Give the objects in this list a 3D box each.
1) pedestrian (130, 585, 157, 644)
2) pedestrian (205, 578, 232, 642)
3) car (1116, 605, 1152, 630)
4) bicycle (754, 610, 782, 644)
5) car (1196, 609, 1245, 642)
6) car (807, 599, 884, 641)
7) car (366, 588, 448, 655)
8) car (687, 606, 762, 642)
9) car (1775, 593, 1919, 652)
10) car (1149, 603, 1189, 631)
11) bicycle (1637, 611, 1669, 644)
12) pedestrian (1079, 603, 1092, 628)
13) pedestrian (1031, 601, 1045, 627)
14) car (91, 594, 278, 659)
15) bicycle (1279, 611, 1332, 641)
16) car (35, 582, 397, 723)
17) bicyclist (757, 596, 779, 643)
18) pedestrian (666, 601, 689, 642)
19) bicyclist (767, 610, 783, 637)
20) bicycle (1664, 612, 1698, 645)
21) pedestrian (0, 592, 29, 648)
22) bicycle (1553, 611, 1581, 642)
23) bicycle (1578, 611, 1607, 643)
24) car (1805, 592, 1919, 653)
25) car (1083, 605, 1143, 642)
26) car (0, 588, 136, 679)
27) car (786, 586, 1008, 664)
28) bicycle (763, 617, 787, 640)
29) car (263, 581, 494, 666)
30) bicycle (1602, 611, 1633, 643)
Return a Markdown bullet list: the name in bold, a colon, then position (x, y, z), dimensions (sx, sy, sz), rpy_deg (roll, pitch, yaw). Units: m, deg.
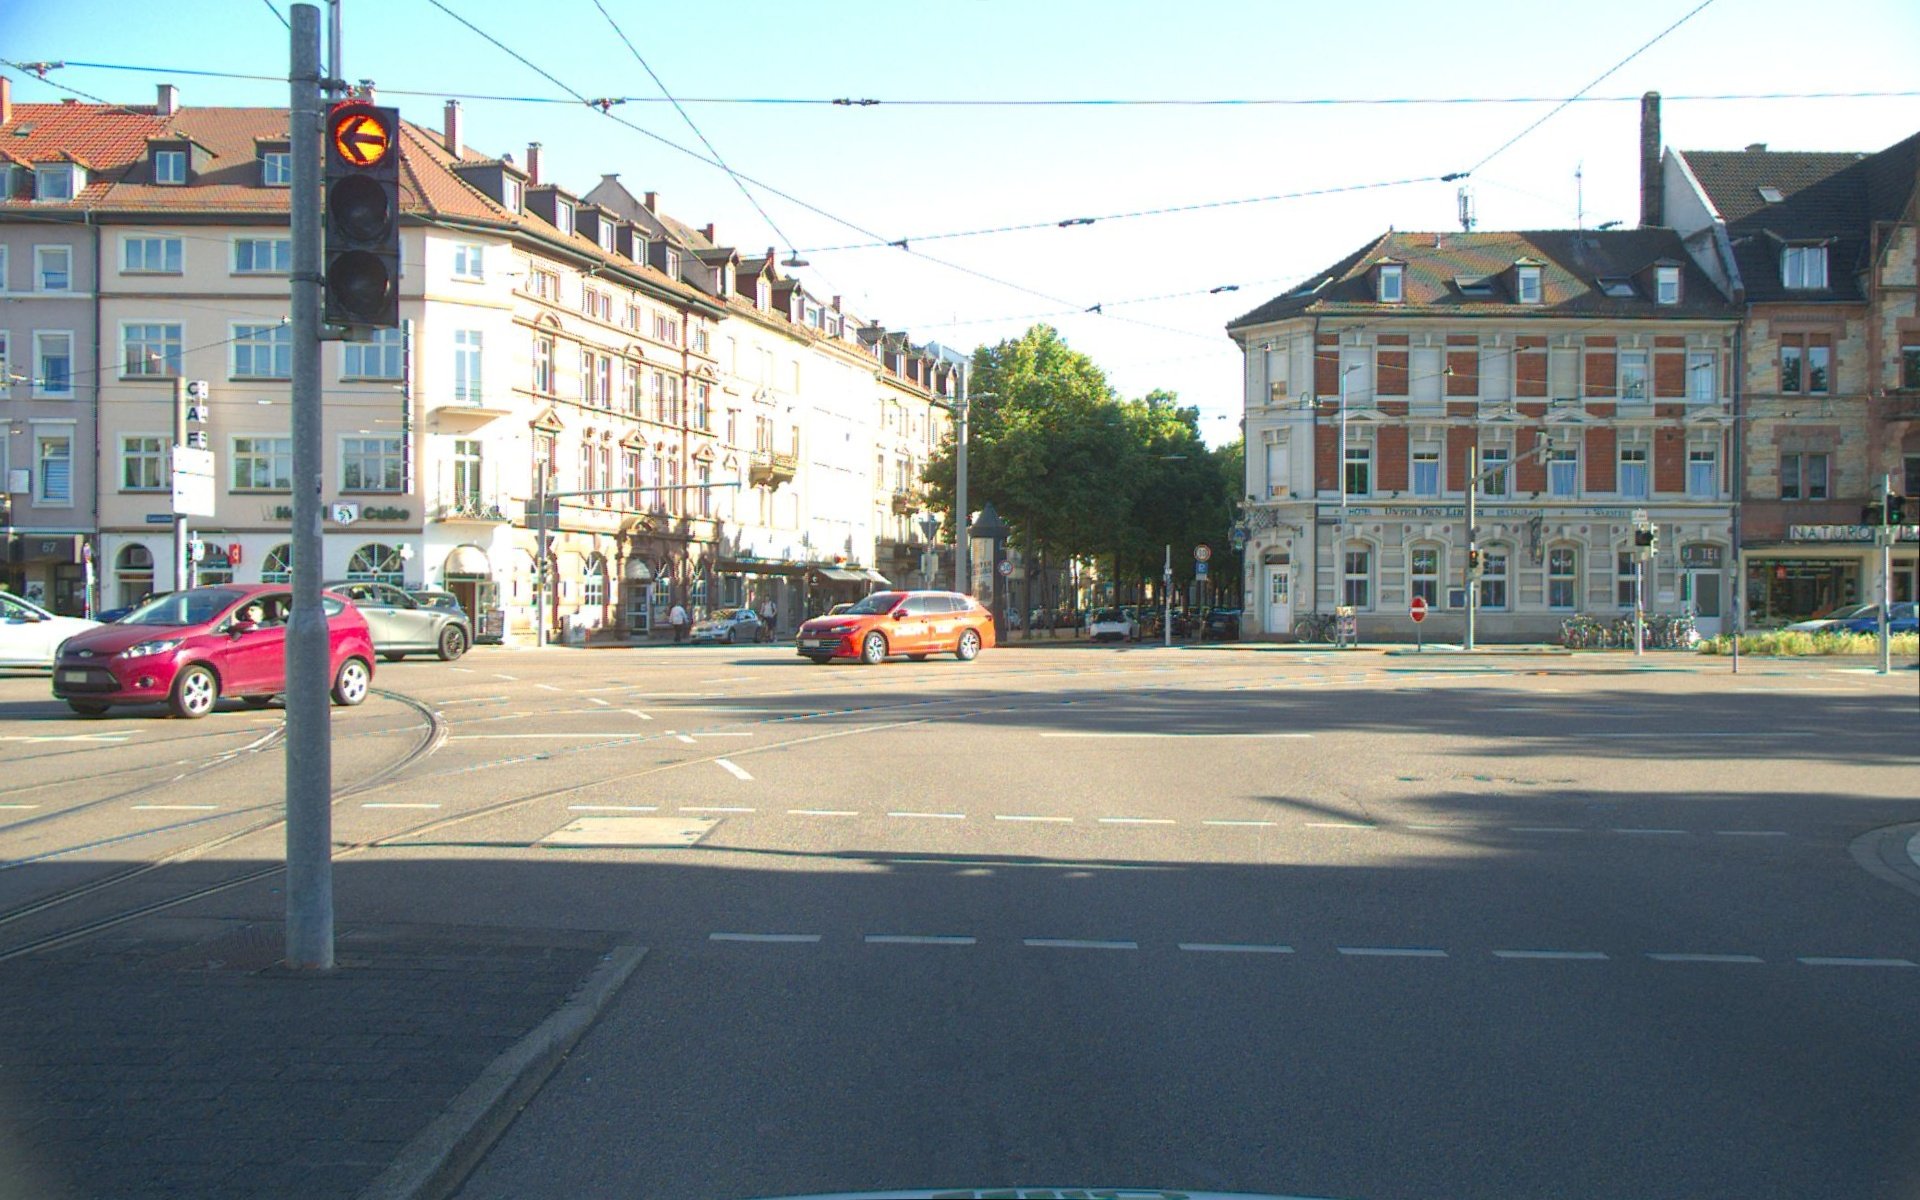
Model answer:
- **pedestrian**: position (-23.660, 0.423, 47.917), dimensions (0.512, 1.677, 0.497), rpy_deg (1, -1, -1)
- **pedestrian**: position (-21.710, 0.285, 48.407), dimensions (0.517, 1.854, 0.675), rpy_deg (1, -1, -8)
- **car**: position (12.293, 1.224, 116.633), dimensions (1.951, 1.713, 4.003), rpy_deg (1, 0, 15)
- **bicycle**: position (-7.538, 1.056, 65.003), dimensions (0.553, 1.276, 1.558), rpy_deg (1, 0, 14)
- **car**: position (13.050, 1.271, 82.703), dimensions (1.719, 1.583, 4.001), rpy_deg (1, 0, 20)
- **car**: position (-4.610, 0.806, 67.189), dimensions (1.764, 1.613, 4.162), rpy_deg (1, 0, 16)
- **car**: position (-13.736, 0.495, 40.995), dimensions (1.759, 1.530, 3.895), rpy_deg (0, 1, -21)
- **car**: position (-9.466, 0.952, 66.844), dimensions (1.624, 1.398, 3.894), rpy_deg (1, 0, 14)
- **car**: position (26.627, 0.658, 49.177), dimensions (3.905, 1.650, 1.804), rpy_deg (1, 0, 0)
- **car**: position (11.161, 0.903, 88.228), dimensions (1.786, 1.428, 4.003), rpy_deg (0, 0, 12)
- **bicycle**: position (22.477, 0.888, 53.666), dimensions (0.749, 1.025, 2.221), rpy_deg (1, 0, 17)
- **pedestrian**: position (10.059, 1.241, 132.132), dimensions (0.737, 2.049, 0.998), rpy_deg (1, -1, 24)
- **pedestrian**: position (5.585, 0.985, 118.015), dimensions (0.703, 1.821, 0.688), rpy_deg (1, -1, -36)
- **car**: position (-20.048, 0.662, 42.819), dimensions (4.096, 1.602, 1.833), rpy_deg (0, 0, 11)
- **bicycle**: position (11.984, 0.903, 57.281), dimensions (1.764, 0.979, 0.604), rpy_deg (1, 0, 14)
- **car**: position (-8.462, 0.522, 19.179), dimensions (1.557, 1.451, 3.883), rpy_deg (1, 1, 20)
- **bicyclist**: position (-7.540, 0.777, 65.013), dimensions (0.553, 1.835, 0.915), rpy_deg (1, -1, 14)
- **pedestrian**: position (-11.559, 0.880, 67.734), dimensions (0.556, 1.671, 0.792), rpy_deg (1, -1, 22)
- **bicyclist**: position (-7.519, 0.949, 67.237), dimensions (0.462, 1.058, 0.538), rpy_deg (1, -1, 14)
- **bicycle**: position (23.244, 0.899, 53.333), dimensions (0.775, 1.033, 2.211), rpy_deg (1, 0, 17)
- **pedestrian**: position (-28.292, 0.593, 49.407), dimensions (0.572, 1.677, 0.616), rpy_deg (1, -1, -1)
- **bicycle**: position (19.812, 0.855, 54.027), dimensions (0.749, 0.979, 2.211), rpy_deg (1, 0, 17)
- **bicycle**: position (20.566, 0.868, 53.790), dimensions (0.749, 0.985, 2.211), rpy_deg (1, 0, 17)
- **car**: position (25.923, 0.632, 46.022), dimensions (3.905, 1.650, 1.804), rpy_deg (1, 0, 0)
- **car**: position (6.760, 1.026, 72.791), dimensions (1.852, 1.479, 4.011), rpy_deg (0, 1, 16)
- **car**: position (-15.602, 0.525, 26.450), dimensions (4.177, 1.414, 1.714), rpy_deg (0, 0, -34)
- **car**: position (-1.261, 0.470, 35.079), dimensions (1.773, 1.495, 4.840), rpy_deg (2, 2, 44)
- **bicycle**: position (-7.514, 1.153, 67.254), dimensions (0.462, 0.938, 1.453), rpy_deg (1, 0, 14)
- **car**: position (-11.936, 0.446, 34.246), dimensions (1.832, 1.630, 4.447), rpy_deg (-1, 0, 28)
- **bicycle**: position (21.345, 0.881, 53.698), dimensions (0.749, 1.001, 2.211), rpy_deg (1, 0, 17)
